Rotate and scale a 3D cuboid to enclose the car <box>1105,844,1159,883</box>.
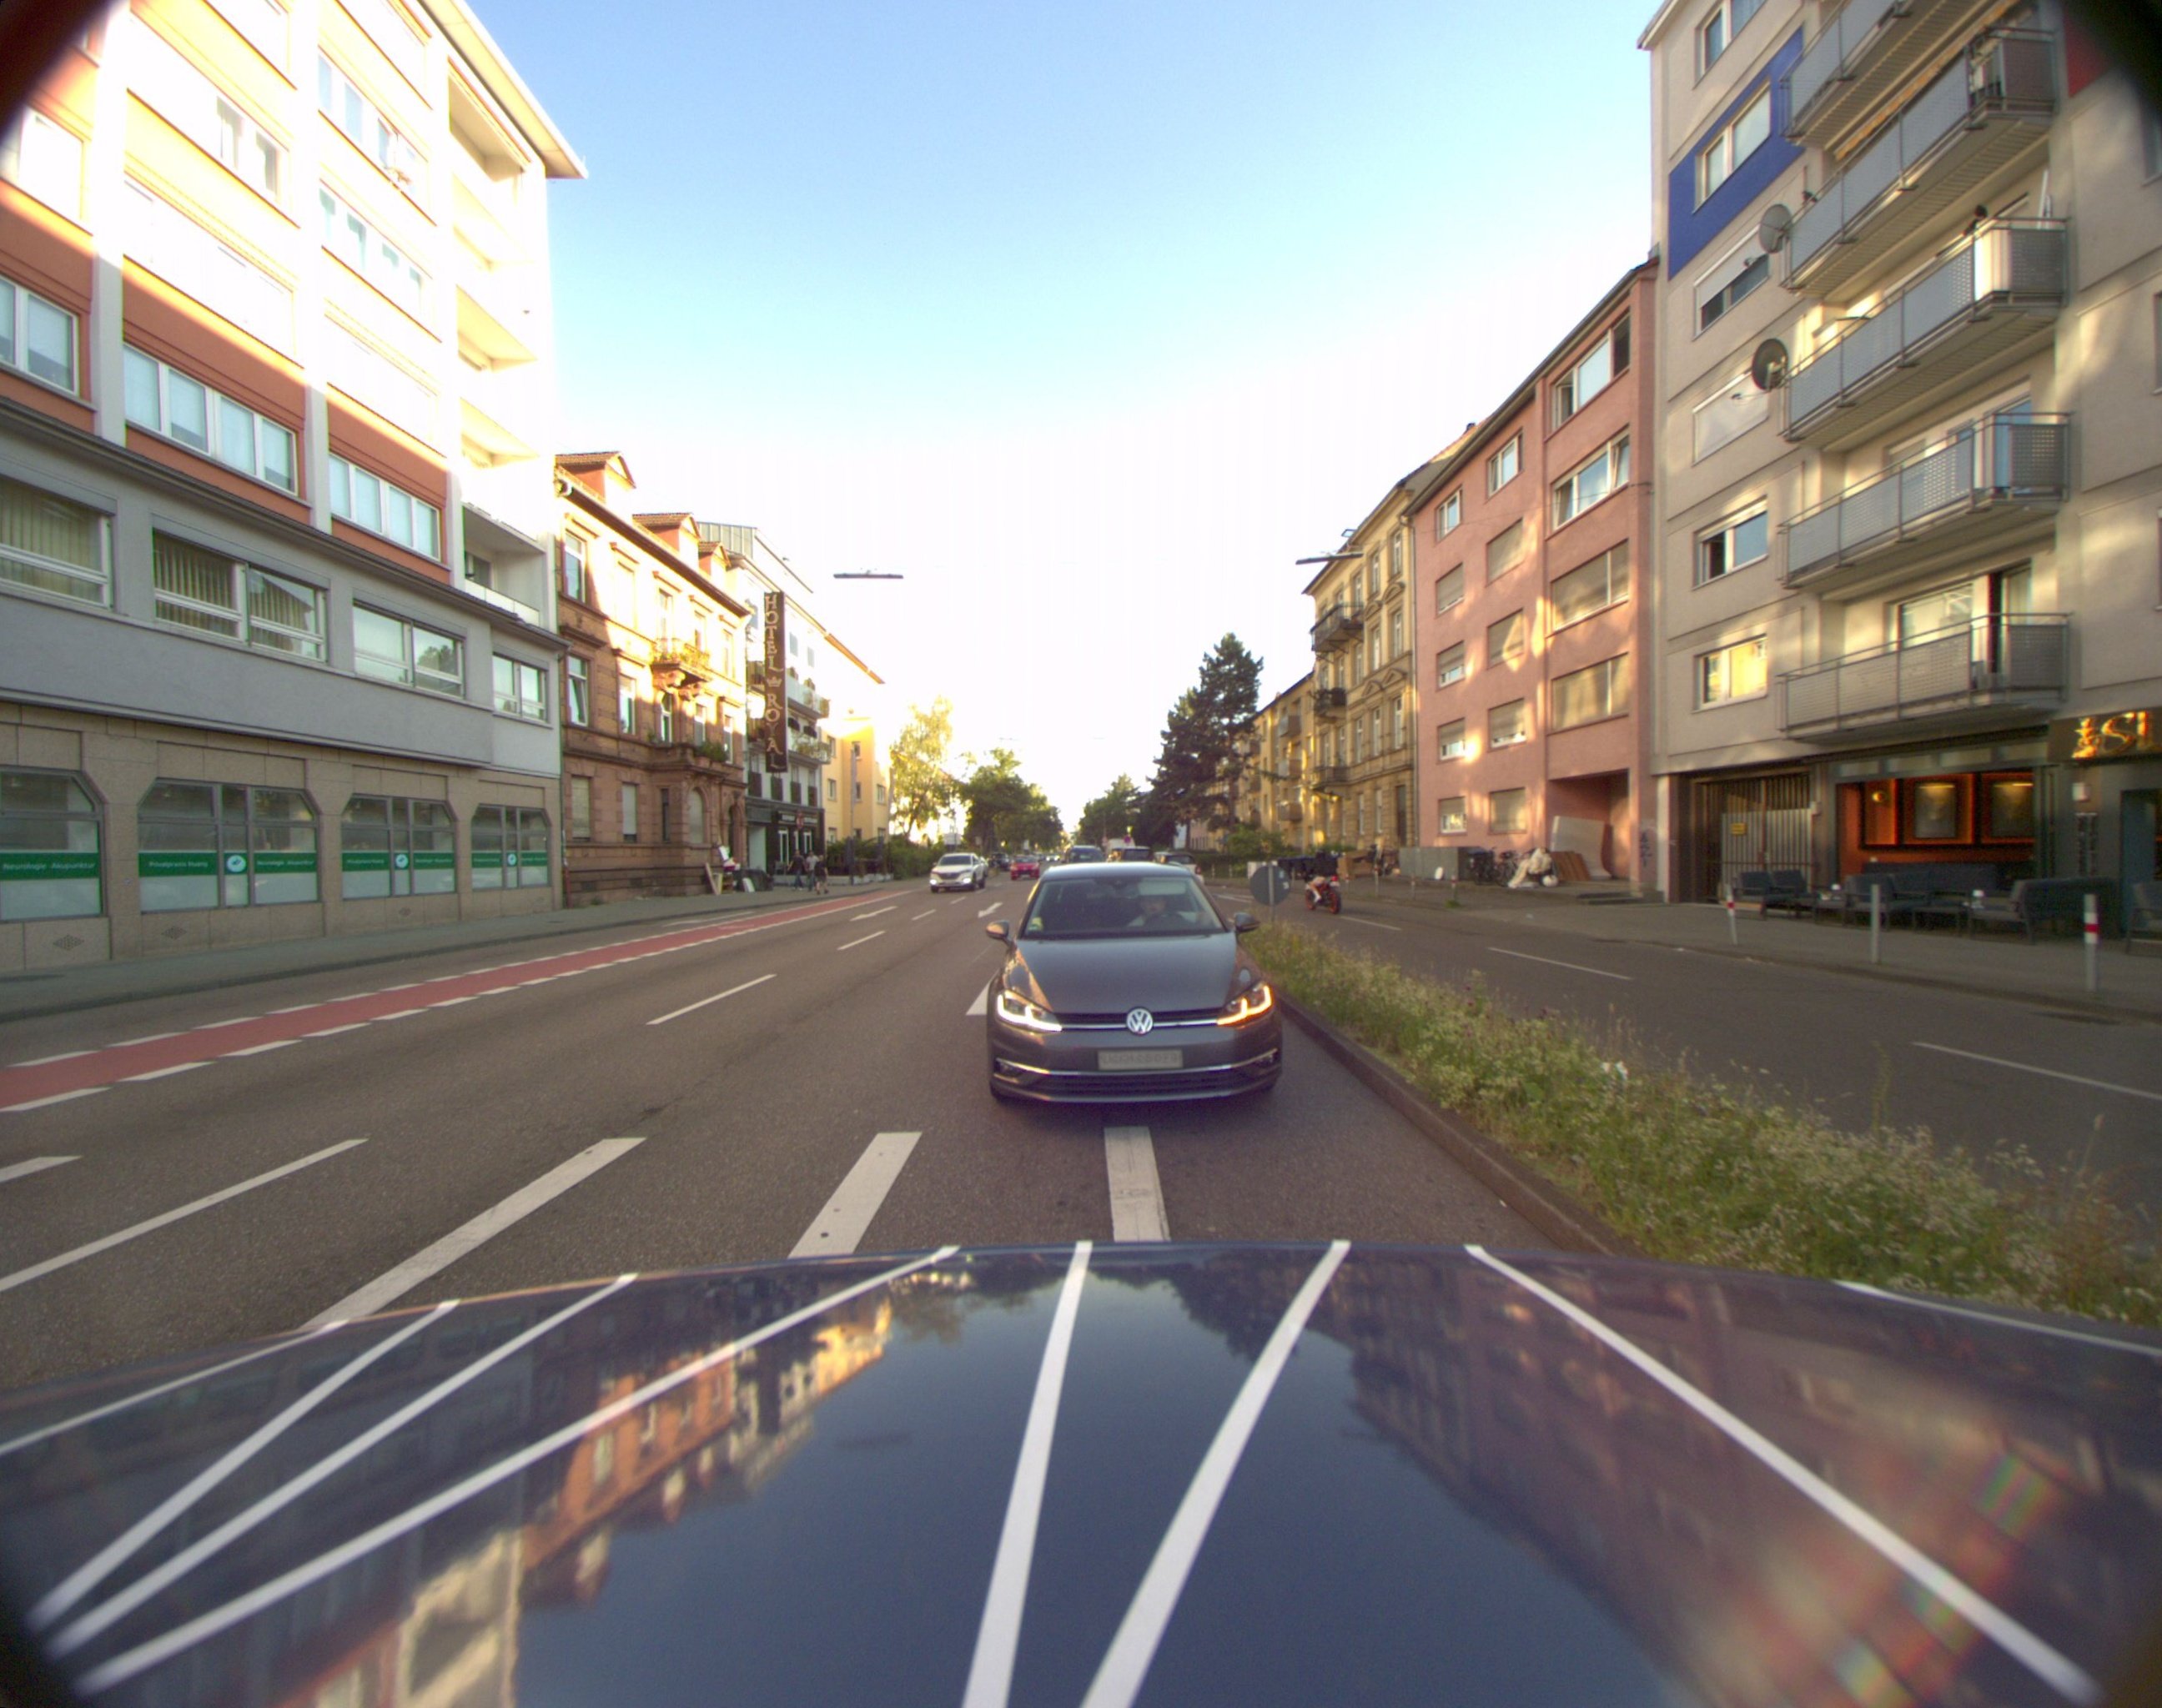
[{"bbox_3d":[2.559,0.444,39.104,1.896,1.843,4.697,0,0,-8],"label":"car"}]

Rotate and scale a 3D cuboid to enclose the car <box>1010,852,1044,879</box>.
[{"bbox_3d":[-3.246,0.678,46.231,1.674,1.454,3.999,-2,1,1],"label":"car"}]

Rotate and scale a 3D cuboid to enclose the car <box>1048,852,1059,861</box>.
[{"bbox_3d":[-5.054,0.432,138.643,1.907,1.532,3.999,-1,1,0],"label":"car"}]

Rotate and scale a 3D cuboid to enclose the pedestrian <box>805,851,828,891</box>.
[{"bbox_3d":[-11.658,0.752,33.556,0.668,1.716,1.010,-1,1,-3],"label":"pedestrian"}]

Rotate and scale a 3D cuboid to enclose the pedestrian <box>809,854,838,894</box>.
[{"bbox_3d":[-10.612,0.810,31.357,0.738,1.593,1.011,2,1,4],"label":"pedestrian"}]

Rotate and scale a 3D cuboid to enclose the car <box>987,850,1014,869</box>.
[{"bbox_3d":[-7.251,0.490,68.510,1.947,1.615,4.193,-1,0,0],"label":"car"}]

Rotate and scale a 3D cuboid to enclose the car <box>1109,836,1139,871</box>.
[{"bbox_3d":[3.411,-0.048,60.908,2.136,2.740,4.465,0,1,0],"label":"car"}]

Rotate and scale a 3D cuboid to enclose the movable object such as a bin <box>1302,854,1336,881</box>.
[{"bbox_3d":[11.192,0.616,35.708,1.295,1.225,0.926,-2,1,-40],"label":"movable object such as a bin"}]

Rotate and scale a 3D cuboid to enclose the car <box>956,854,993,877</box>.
[{"bbox_3d":[-7.343,0.779,52.716,1.905,1.508,4.074,-1,0,1],"label":"car"}]

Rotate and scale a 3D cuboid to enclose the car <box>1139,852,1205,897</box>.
[{"bbox_3d":[3.207,0.687,27.445,1.596,1.533,3.402,0,1,-7],"label":"car"}]

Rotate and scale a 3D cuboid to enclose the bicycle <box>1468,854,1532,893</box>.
[{"bbox_3d":[13.102,0.601,23.778,1.780,1.184,0.473,-1,1,-2],"label":"bicycle"}]

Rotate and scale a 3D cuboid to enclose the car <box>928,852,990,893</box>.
[{"bbox_3d":[-5.343,0.759,33.839,1.921,1.598,4.269,-2,1,2],"label":"car"}]

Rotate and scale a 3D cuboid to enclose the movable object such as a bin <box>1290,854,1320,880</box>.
[{"bbox_3d":[10.799,0.623,36.602,1.196,1.225,0.847,-2,1,-40],"label":"movable object such as a bin"}]

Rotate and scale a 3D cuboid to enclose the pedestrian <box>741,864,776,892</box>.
[{"bbox_3d":[-13.774,1.010,32.517,1.100,1.129,0.924,-1,1,-2],"label":"pedestrian"}]

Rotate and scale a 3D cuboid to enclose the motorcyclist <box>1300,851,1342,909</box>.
[{"bbox_3d":[6.094,0.643,19.301,0.750,1.433,0.958,0,1,-1],"label":"motorcyclist"}]

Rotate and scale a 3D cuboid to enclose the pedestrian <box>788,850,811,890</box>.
[{"bbox_3d":[-12.375,0.688,33.457,0.668,1.716,1.010,-1,1,-5],"label":"pedestrian"}]

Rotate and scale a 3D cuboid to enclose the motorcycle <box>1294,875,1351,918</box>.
[{"bbox_3d":[6.102,1.045,19.317,0.750,0.957,2.048,0,0,-1],"label":"motorcycle"}]

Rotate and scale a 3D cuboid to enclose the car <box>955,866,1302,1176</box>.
[{"bbox_3d":[0.276,0.913,6.119,1.770,1.450,4.269,-2,1,1],"label":"car"}]

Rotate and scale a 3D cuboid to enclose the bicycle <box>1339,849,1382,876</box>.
[{"bbox_3d":[12.683,0.397,34.479,1.780,1.184,0.473,-1,1,-2],"label":"bicycle"}]

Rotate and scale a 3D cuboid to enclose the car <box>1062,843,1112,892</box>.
[{"bbox_3d":[0.214,0.505,30.831,1.895,1.843,4.466,0,0,0],"label":"car"}]

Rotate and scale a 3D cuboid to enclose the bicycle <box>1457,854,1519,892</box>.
[{"bbox_3d":[13.123,0.599,24.511,1.780,1.184,0.473,-1,1,-2],"label":"bicycle"}]

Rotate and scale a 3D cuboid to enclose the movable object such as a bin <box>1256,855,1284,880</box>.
[{"bbox_3d":[9.406,0.663,37.801,0.847,1.225,1.196,0,1,42],"label":"movable object such as a bin"}]

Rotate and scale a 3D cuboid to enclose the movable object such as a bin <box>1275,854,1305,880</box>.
[{"bbox_3d":[10.271,0.635,37.307,1.196,1.225,0.847,-2,1,-40],"label":"movable object such as a bin"}]

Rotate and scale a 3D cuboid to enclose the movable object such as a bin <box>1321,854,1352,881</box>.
[{"bbox_3d":[11.766,0.604,34.964,1.196,1.225,0.847,-2,1,-40],"label":"movable object such as a bin"}]

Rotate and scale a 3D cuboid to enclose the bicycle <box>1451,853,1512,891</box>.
[{"bbox_3d":[13.203,0.589,25.090,1.780,1.184,0.473,-1,1,-2],"label":"bicycle"}]
